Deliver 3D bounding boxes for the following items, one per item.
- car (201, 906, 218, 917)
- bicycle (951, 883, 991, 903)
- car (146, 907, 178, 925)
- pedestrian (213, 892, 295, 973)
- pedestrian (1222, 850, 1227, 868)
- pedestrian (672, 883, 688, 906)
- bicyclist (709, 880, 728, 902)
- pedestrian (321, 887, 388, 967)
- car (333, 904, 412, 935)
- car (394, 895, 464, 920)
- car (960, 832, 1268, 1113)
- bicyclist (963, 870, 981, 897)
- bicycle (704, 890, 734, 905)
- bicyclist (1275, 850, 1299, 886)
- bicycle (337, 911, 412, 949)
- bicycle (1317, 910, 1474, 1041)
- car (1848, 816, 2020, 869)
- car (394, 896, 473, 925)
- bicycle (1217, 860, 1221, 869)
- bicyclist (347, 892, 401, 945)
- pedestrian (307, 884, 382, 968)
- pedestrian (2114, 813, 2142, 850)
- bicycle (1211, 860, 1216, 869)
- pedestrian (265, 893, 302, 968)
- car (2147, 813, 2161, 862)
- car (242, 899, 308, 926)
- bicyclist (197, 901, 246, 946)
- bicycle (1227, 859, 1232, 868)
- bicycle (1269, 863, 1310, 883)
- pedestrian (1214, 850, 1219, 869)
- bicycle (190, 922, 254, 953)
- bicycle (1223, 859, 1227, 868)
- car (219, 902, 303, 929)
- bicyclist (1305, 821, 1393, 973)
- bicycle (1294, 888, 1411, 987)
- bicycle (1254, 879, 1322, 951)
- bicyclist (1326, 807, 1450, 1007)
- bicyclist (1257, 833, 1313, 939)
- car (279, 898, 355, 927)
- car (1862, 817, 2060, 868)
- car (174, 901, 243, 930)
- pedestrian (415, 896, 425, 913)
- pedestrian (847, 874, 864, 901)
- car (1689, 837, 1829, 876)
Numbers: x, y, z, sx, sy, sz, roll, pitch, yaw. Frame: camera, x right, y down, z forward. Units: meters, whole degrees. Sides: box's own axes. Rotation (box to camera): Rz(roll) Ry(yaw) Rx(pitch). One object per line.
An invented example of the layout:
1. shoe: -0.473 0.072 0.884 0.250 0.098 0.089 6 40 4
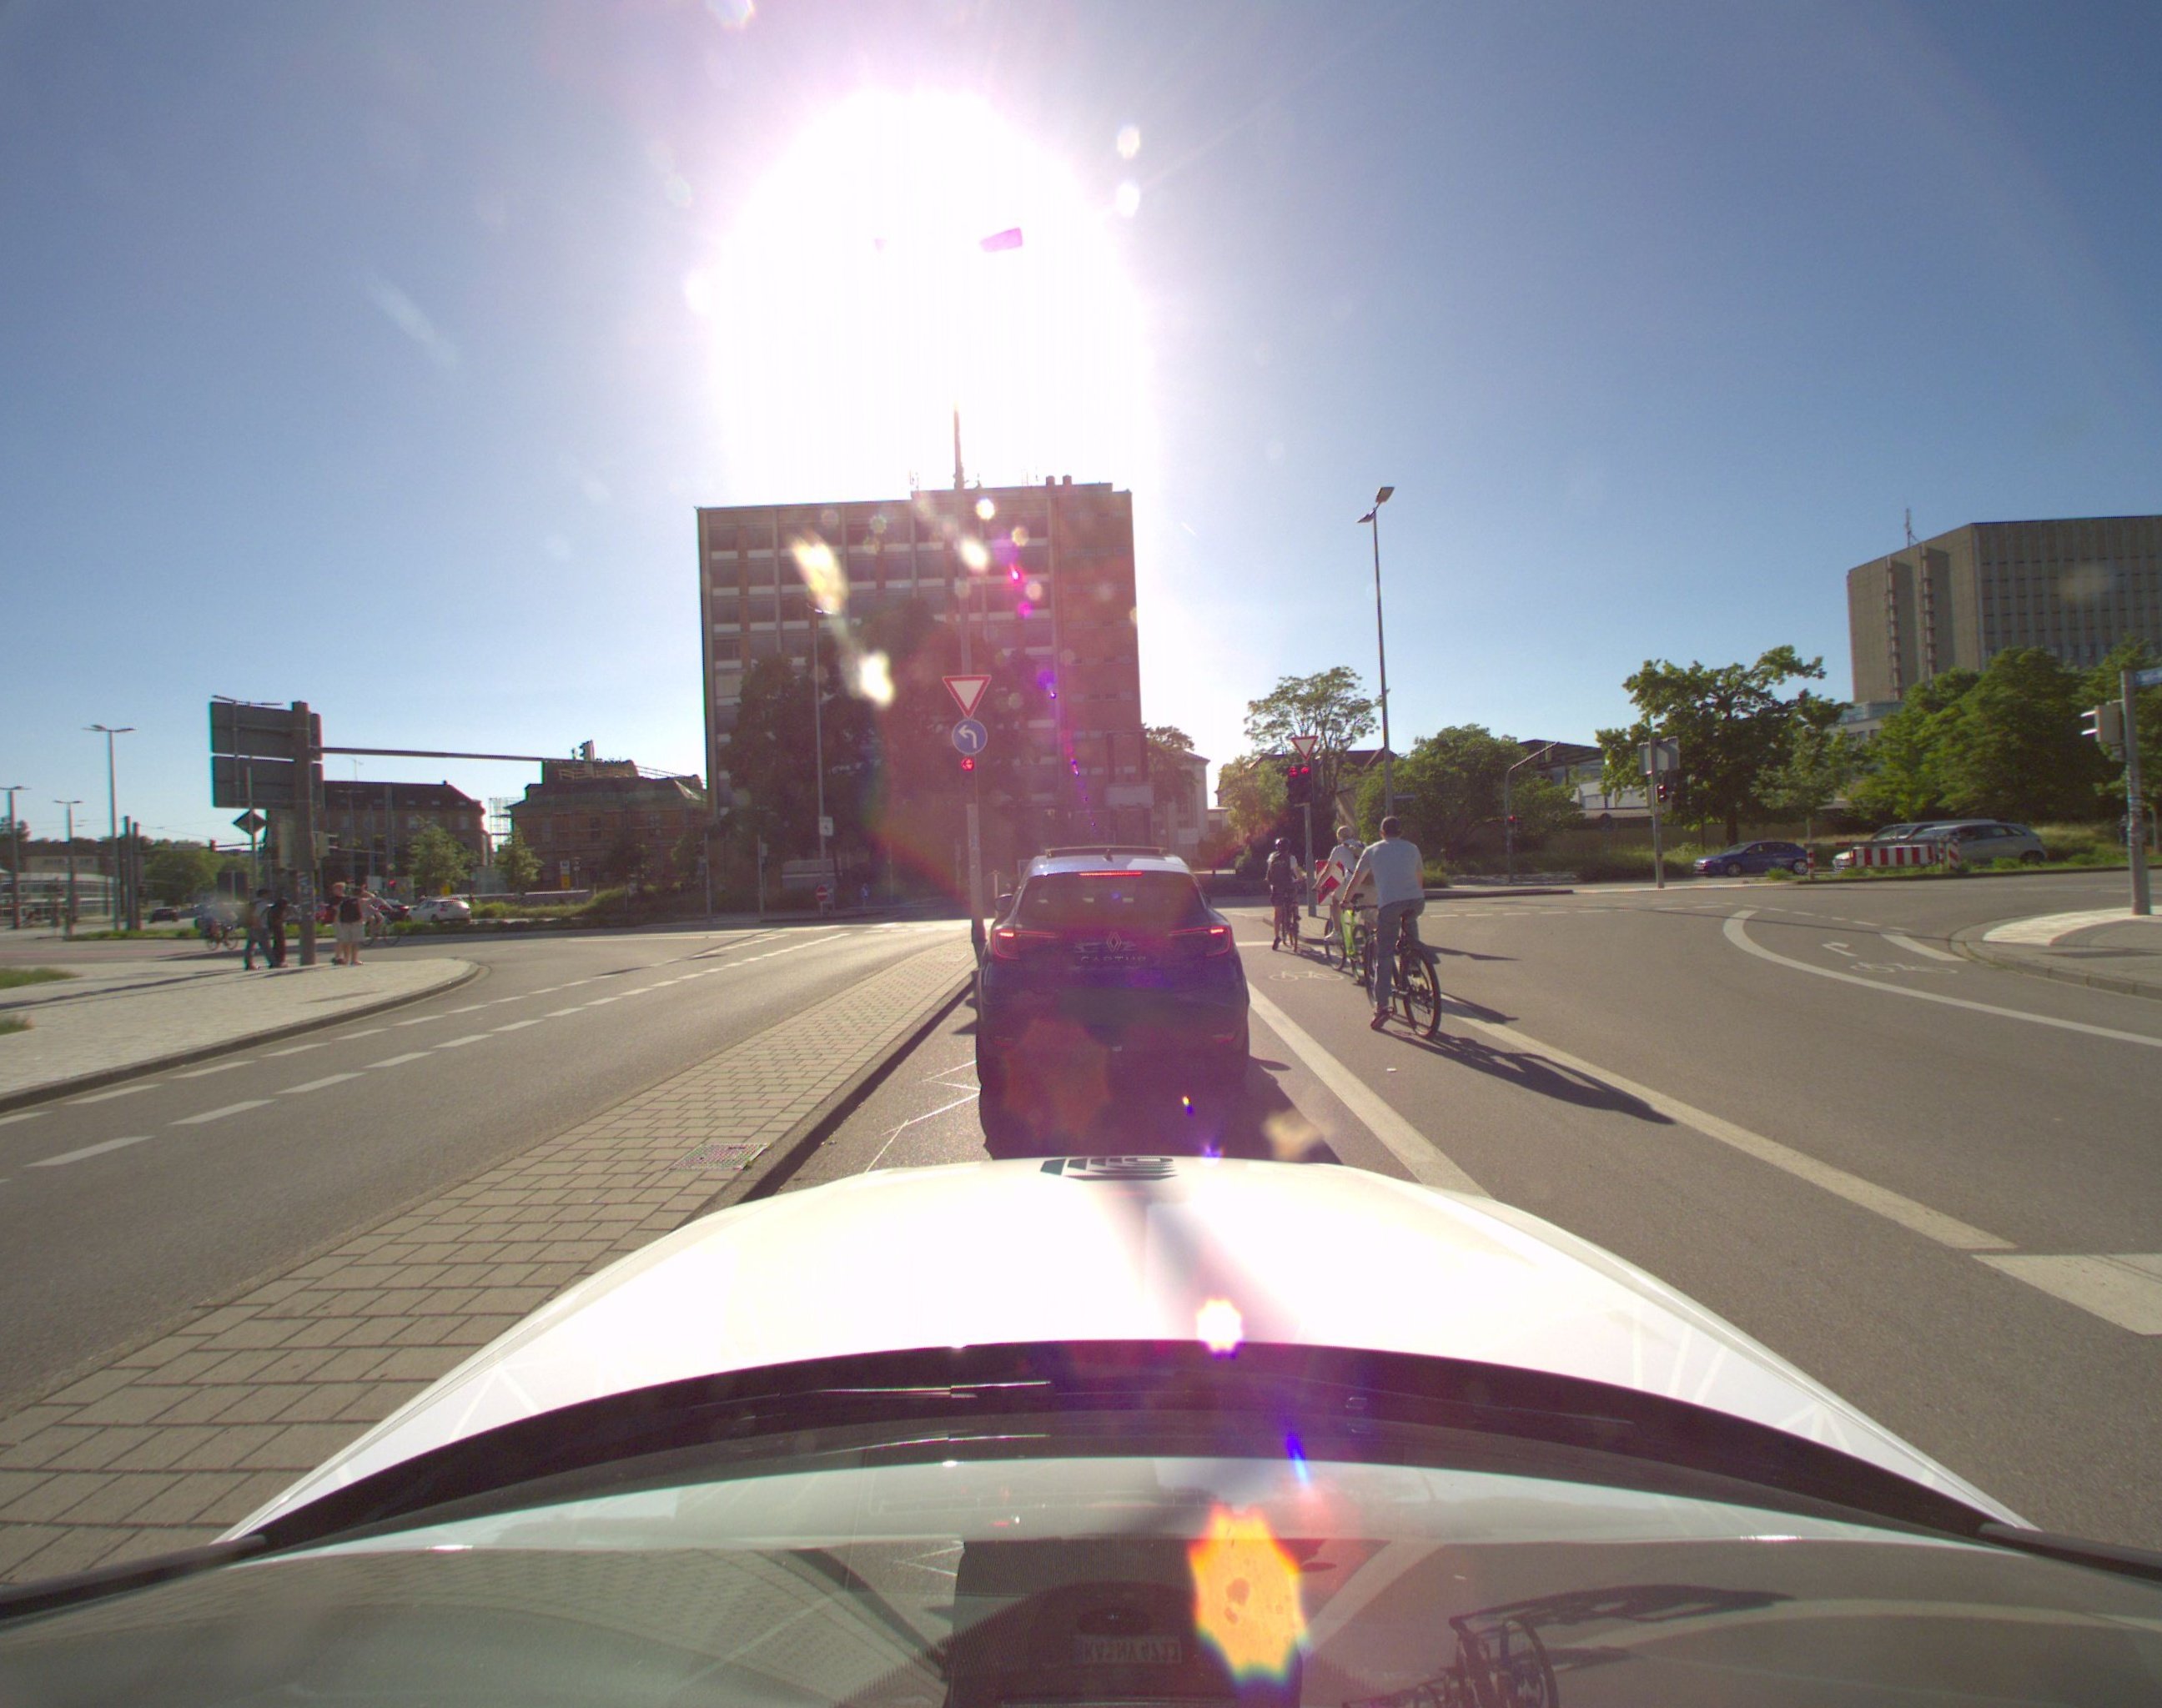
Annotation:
1. car: -172.310 11.433 161.012 3.948 2.013 2.013 -3 -1 38
2. bicycle: -5.926 2.112 44.034 2.016 0.964 0.593 -2 -1 -25
3. car: -94.481 6.336 83.699 4.330 1.632 1.856 -3 -1 37
4. pedestrian: -18.241 1.709 17.985 0.900 1.690 0.839 -4 -3 -3
5. pedestrian: 16.215 0.603 92.191 0.473 2.014 0.469 -2 -1 8
6. pedestrian: -27.973 2.848 56.811 0.852 1.571 0.562 -3 -1 26
7. bicyclist: -23.931 2.452 53.766 0.928 1.429 0.602 -3 -1 25
8. pedestrian: -16.361 1.637 18.350 0.785 1.690 0.793 -6 -3 20
9. car: -42.562 3.921 48.903 4.334 1.632 1.854 -3 -1 23
10. car: -45.836 3.758 57.221 4.779 1.632 1.855 -2 -1 25
11. car: 0.204 0.708 6.810 1.798 1.632 3.999 -1 0 0
12. bicyclist: -5.889 1.597 44.062 0.741 1.441 0.593 -2 -1 -25
13. bicycle: -23.920 2.878 53.761 2.057 0.964 0.602 -3 -1 26
14. bicyclist: 10.925 0.733 43.162 1.094 1.867 0.655 -4 -1 12
15. bicycle: -21.619 2.324 24.928 1.969 0.995 0.744 -4 -1 16
16. bicycle: 2.721 1.010 7.304 0.737 0.896 1.980 0 -1 3
17. car: 35.253 -0.441 33.768 4.856 2.107 2.002 0 -1 4
18. car: -36.409 3.191 45.815 3.803 1.435 1.752 -2 -1 21
19. bicycle: 15.876 1.224 93.830 0.403 0.973 1.686 0 -1 6
20. bicyclist: -21.641 1.966 24.929 1.060 1.500 0.744 -4 -1 17
21. pedestrian: -16.993 1.647 18.800 0.696 1.800 1.110 -6 -3 34
22. pedestrian: 50.873 -1.094 39.585 0.558 1.778 0.528 -2 -1 6
23. bicycle: 15.259 1.229 93.888 0.403 0.973 1.686 0 -1 6
24. pedestrian: -19.148 1.812 19.553 0.600 1.729 0.572 -2 -1 -45
25. car: 36.987 -0.624 25.357 4.713 1.584 2.002 -2 -1 3
26. car: -53.815 3.922 54.383 4.331 1.632 1.855 -3 -1 27
27. bicyclist: -29.581 2.393 28.019 1.115 1.422 0.690 -5 -1 18
28. bicycle: 17.189 1.074 94.181 0.403 0.973 1.686 0 -1 6
29. bicycle: 11.036 1.011 43.178 2.067 0.930 0.698 -3 1 12
30. pedestrian: 15.103 0.600 90.865 0.473 2.014 0.524 -2 -1 8
31. bicycle: -29.541 2.867 28.003 1.968 0.918 0.690 -5 -1 18
32. bicycle: 16.654 1.077 94.180 0.403 0.973 1.686 0 -1 6
33. car: -49.013 3.679 48.669 4.841 1.388 1.854 -3 -1 23
34. bicyclist: 3.216 0.494 9.858 0.644 1.739 1.065 0 -1 -4
35. bicycle: 3.215 0.955 9.860 0.657 1.003 1.967 0 -1 -4
36. bicycle: 3.248 0.927 12.942 0.735 0.995 2.177 0 -1 6
37. bicyclist: 2.713 0.445 7.304 0.748 1.668 1.017 0 -1 3
38. bicyclist: 3.239 0.500 12.995 0.722 1.629 0.970 0 -1 6
39. car: -48.458 3.685 51.656 4.334 1.632 1.854 -3 -1 23
40. car: 28.141 -0.360 26.174 4.025 1.408 1.872 -2 -1 8
41. car: -55.160 3.908 51.480 4.331 1.632 1.855 -3 -1 27
42. pedestrian: -69.106 5.285 85.134 0.671 1.735 0.663 -3 -1 32
43. pedestrian: -14.117 2.089 51.034 0.731 1.603 0.601 -3 -1 16
44. car: 28.218 0.100 34.016 4.140 1.435 1.747 -2 -1 8
